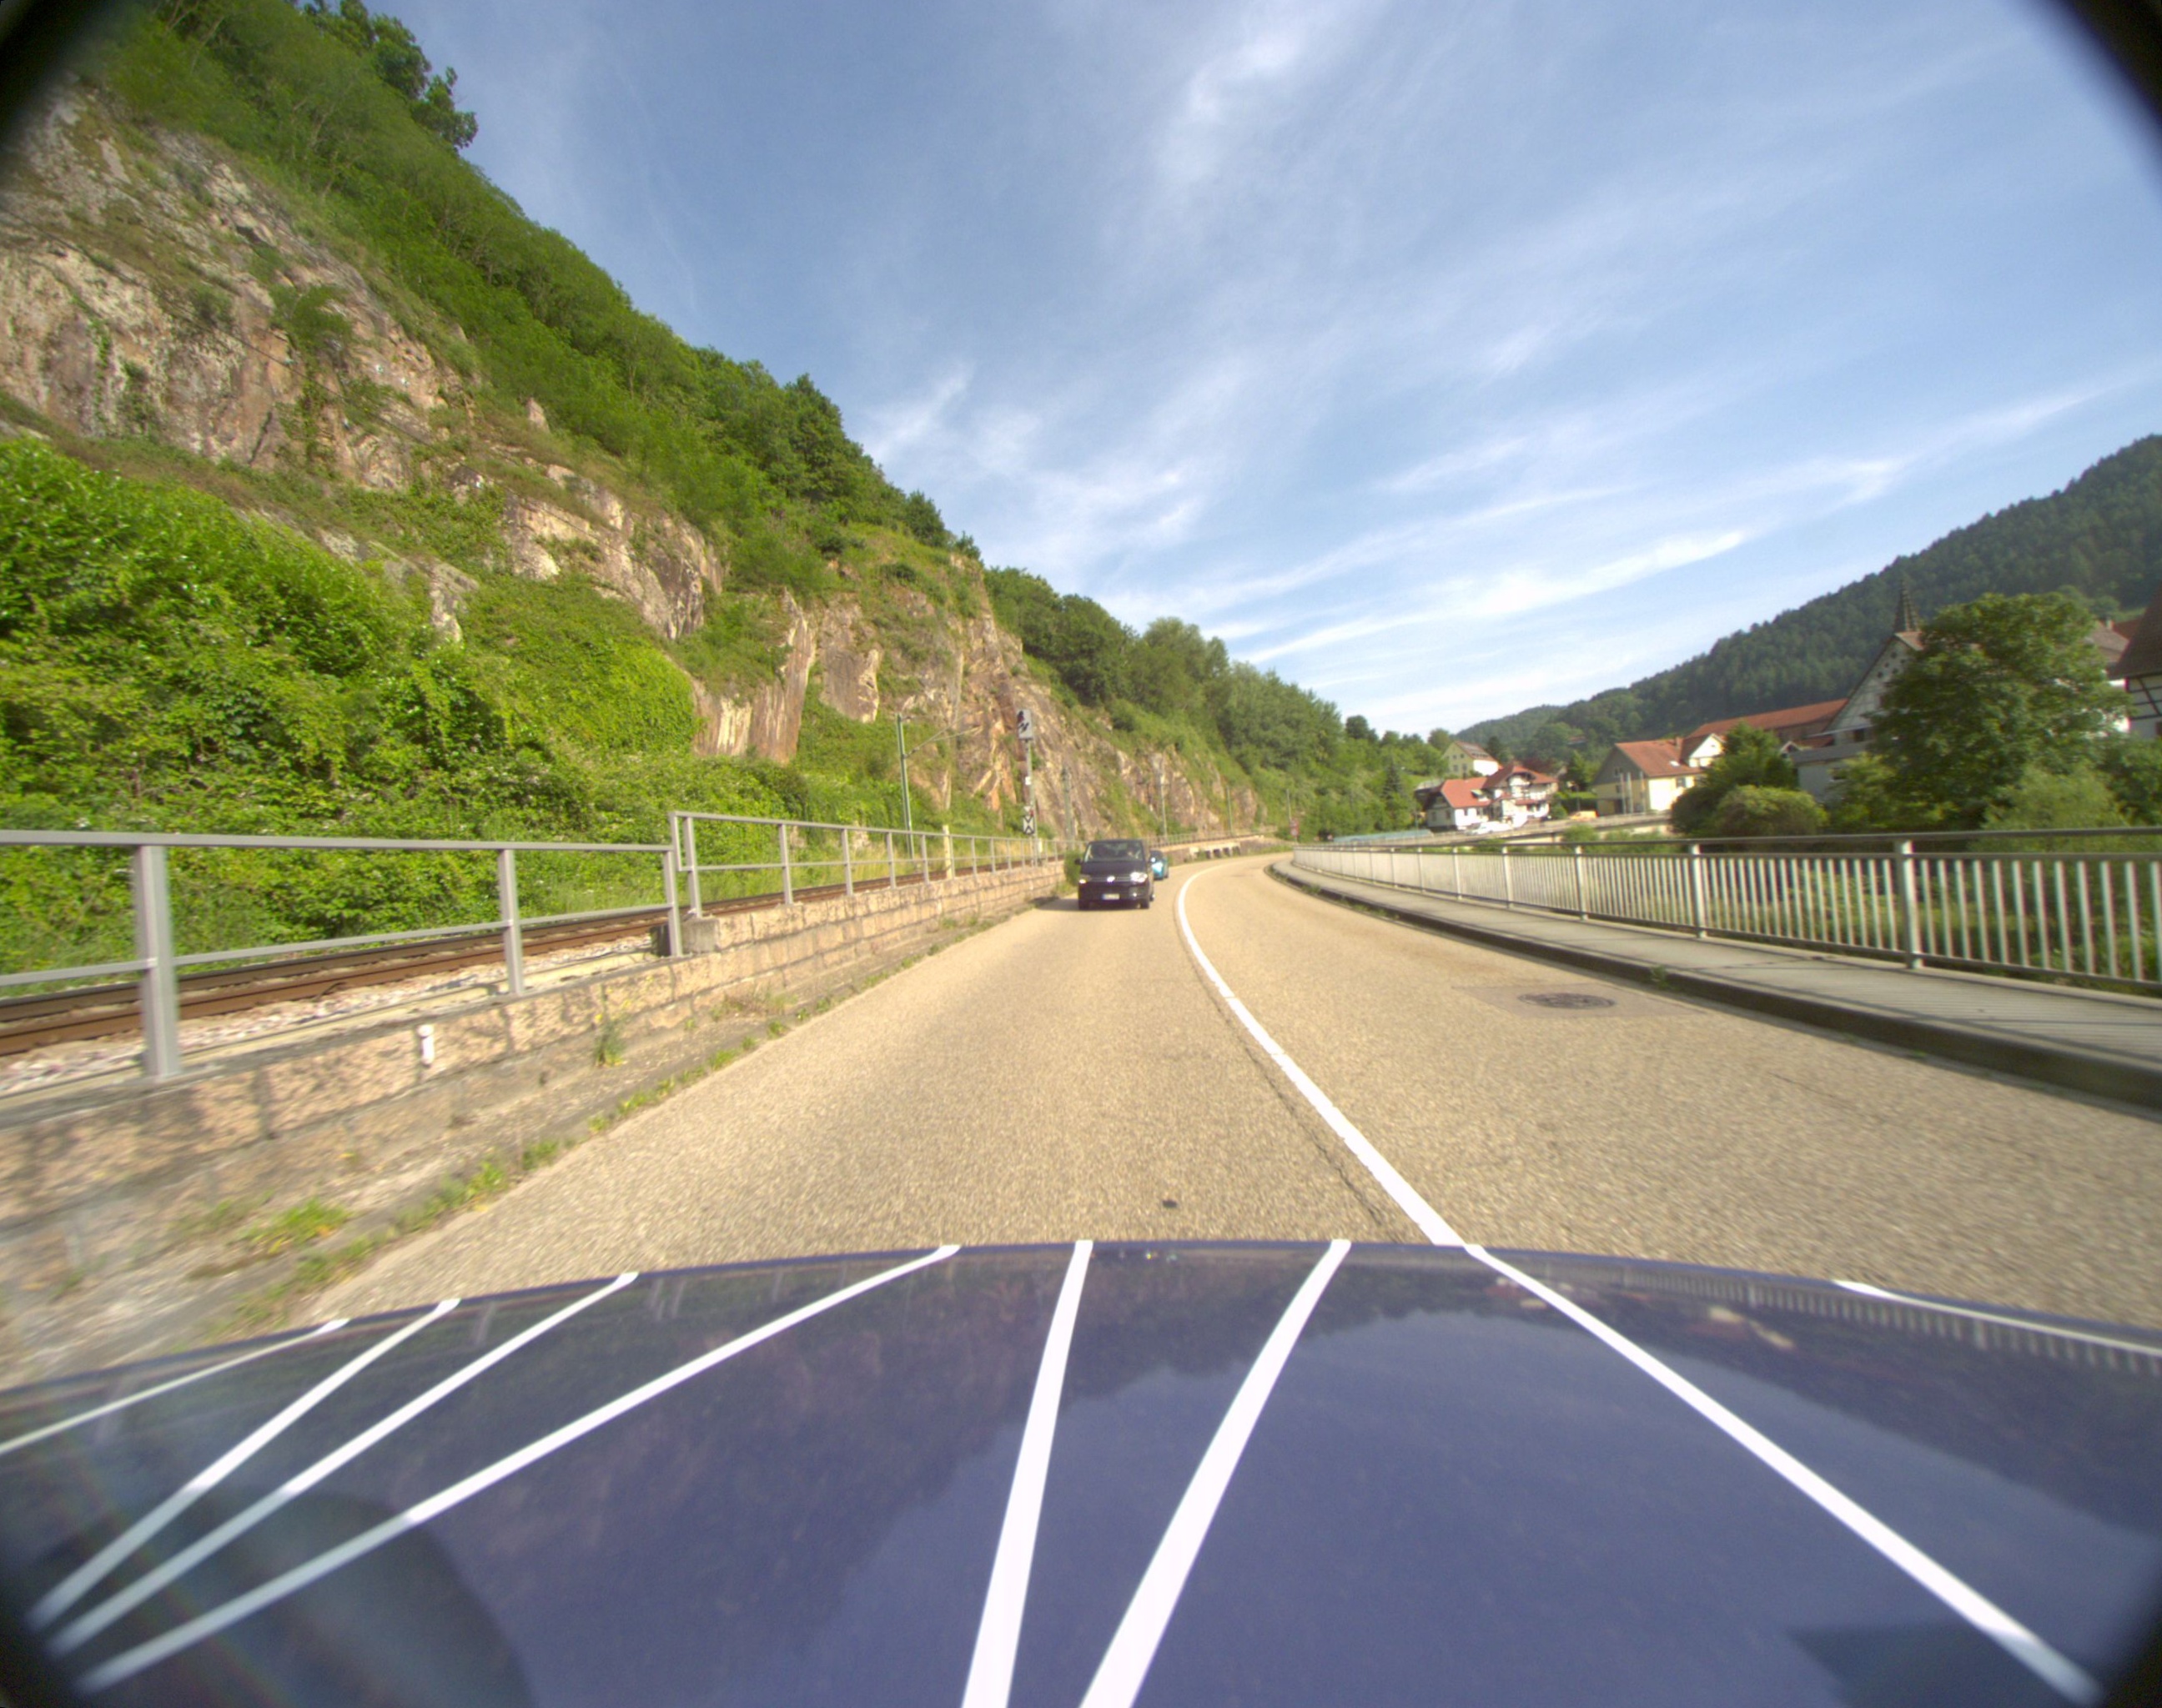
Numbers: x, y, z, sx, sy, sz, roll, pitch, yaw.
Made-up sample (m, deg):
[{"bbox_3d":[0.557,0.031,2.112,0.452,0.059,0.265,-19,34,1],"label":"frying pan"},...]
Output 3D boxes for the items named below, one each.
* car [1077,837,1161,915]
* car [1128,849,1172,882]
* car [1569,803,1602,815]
[{"bbox_3d":[1.225,0.558,21.889,1.886,1.952,4.868,-2,0,8],"label":"car"},{"bbox_3d":[3.563,0.547,38.841,1.681,1.513,3.869,-4,0,12],"label":"car"},{"bbox_3d":[88.194,-7.889,132.847,4.834,1.986,1.913,-1,1,-7],"label":"car"}]
